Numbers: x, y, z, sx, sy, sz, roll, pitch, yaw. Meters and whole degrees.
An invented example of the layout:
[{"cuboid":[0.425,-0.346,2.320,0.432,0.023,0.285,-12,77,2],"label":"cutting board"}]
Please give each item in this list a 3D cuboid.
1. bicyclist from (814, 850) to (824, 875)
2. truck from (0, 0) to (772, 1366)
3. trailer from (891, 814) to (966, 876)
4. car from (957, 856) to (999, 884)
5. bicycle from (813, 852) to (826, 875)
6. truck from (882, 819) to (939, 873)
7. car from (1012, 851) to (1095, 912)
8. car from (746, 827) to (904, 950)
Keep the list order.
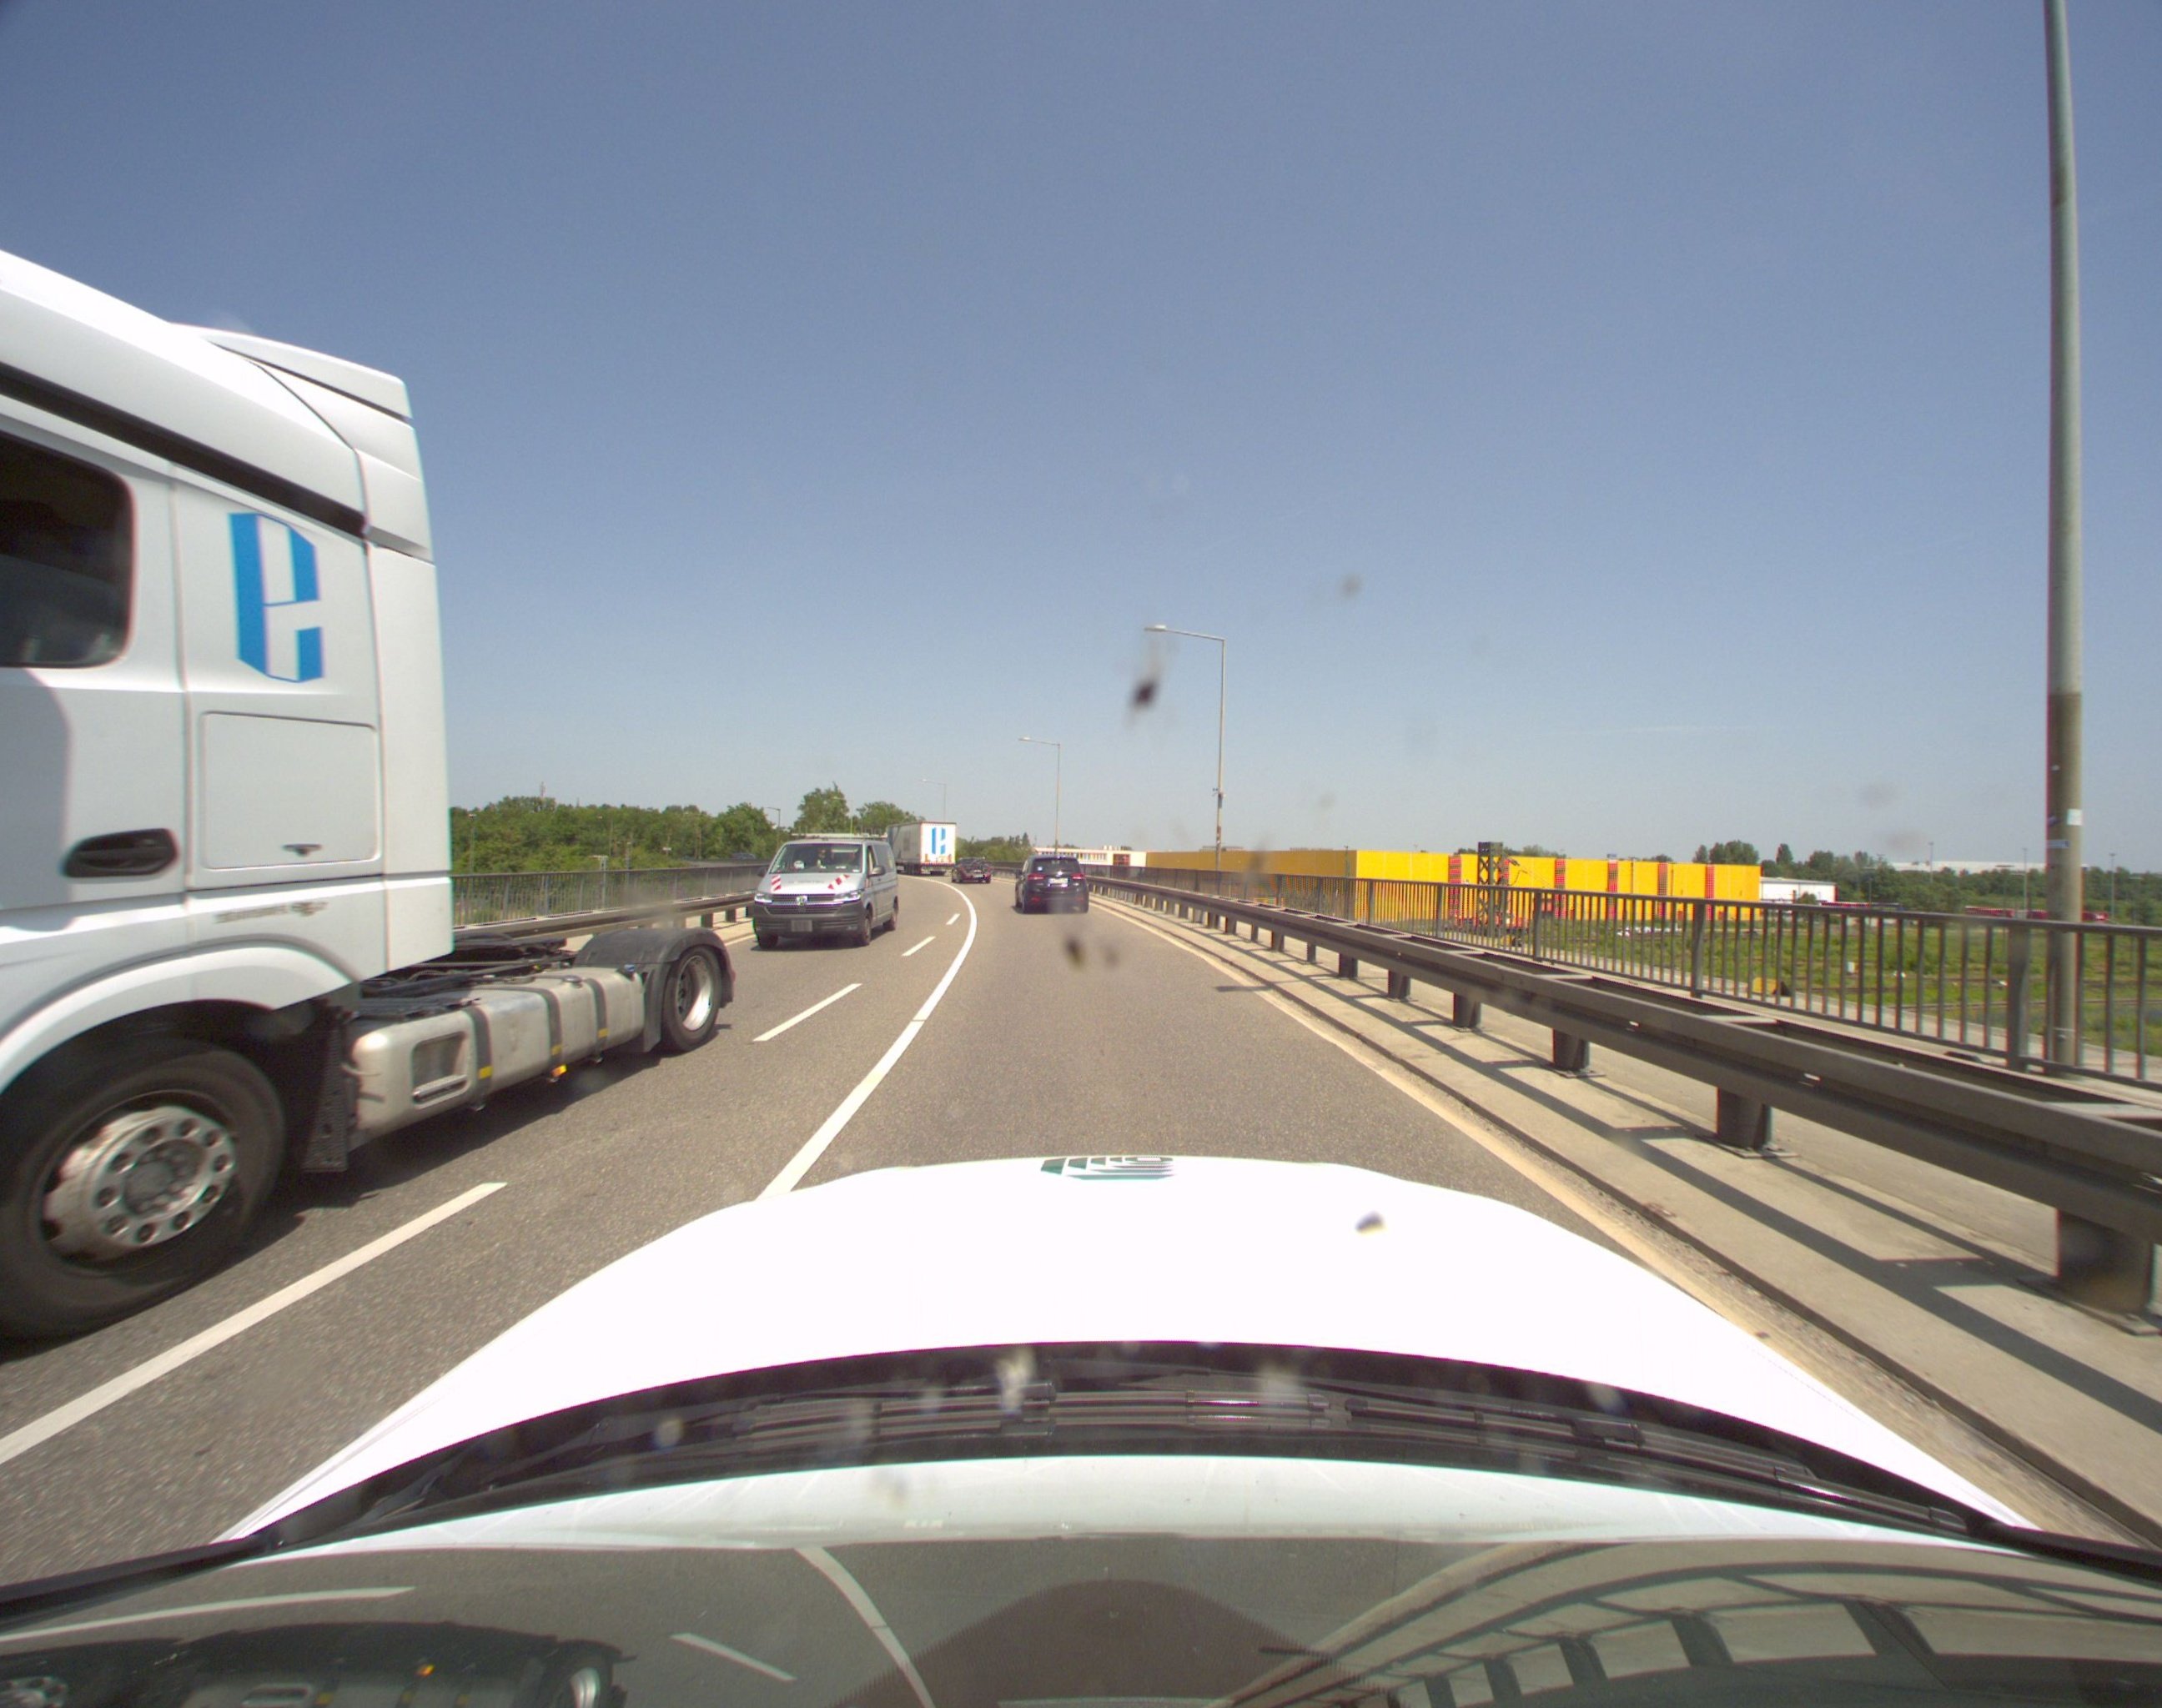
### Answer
[{"cuboid":[-20.342,0.639,63.204,0.627,1.886,0.706,1,0,-27],"label":"bicyclist"},{"cuboid":[-4.401,-0.494,4.543,2.695,3.991,6.189,-1,0,2],"label":"truck"},{"cuboid":[-12.119,-0.656,63.503,3.584,4.384,11.356,1,0,-22],"label":"trailer"},{"cuboid":[-5.730,0.848,44.895,2.012,1.429,3.762,0,0,-11],"label":"car"},{"cuboid":[-20.305,0.713,63.154,0.701,1.801,2.162,1,0,-25],"label":"bicycle"},{"cuboid":[-14.735,-0.647,69.932,3.588,4.441,6.465,1,0,-23],"label":"truck"},{"cuboid":[-0.863,0.722,23.190,1.921,1.574,3.880,0,0,-9],"label":"car"},{"cuboid":[-4.725,0.573,15.804,1.858,2.000,4.806,-1,0,-5],"label":"car"}]
